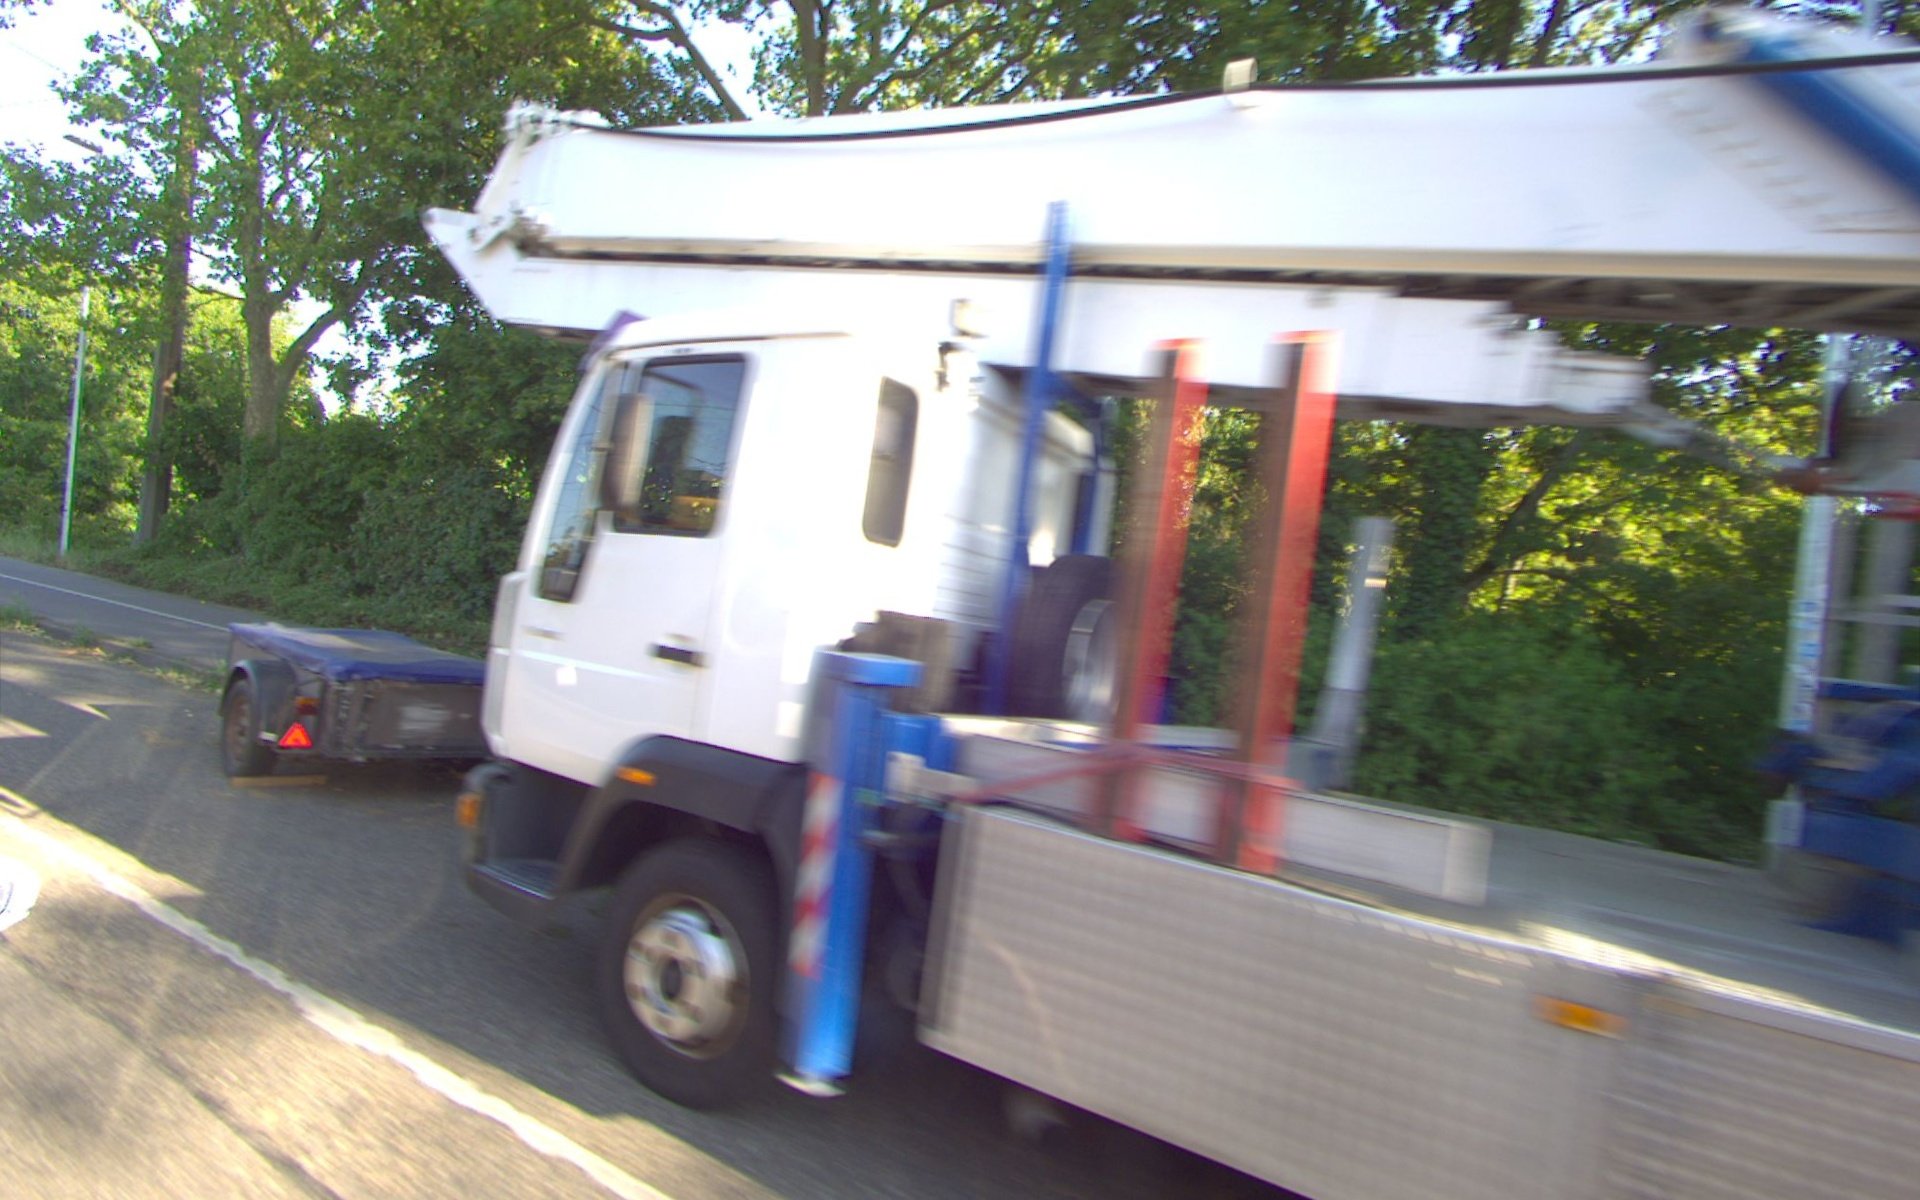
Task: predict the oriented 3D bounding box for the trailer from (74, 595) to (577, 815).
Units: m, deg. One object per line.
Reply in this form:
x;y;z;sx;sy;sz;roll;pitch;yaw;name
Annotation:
-4.496;0.627;7.033;3.443;0.869;1.578;7;-1;32;trailer

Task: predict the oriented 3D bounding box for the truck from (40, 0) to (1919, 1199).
0.693;-0.275;3.398;9.598;3.827;2.722;7;-1;31;truck
